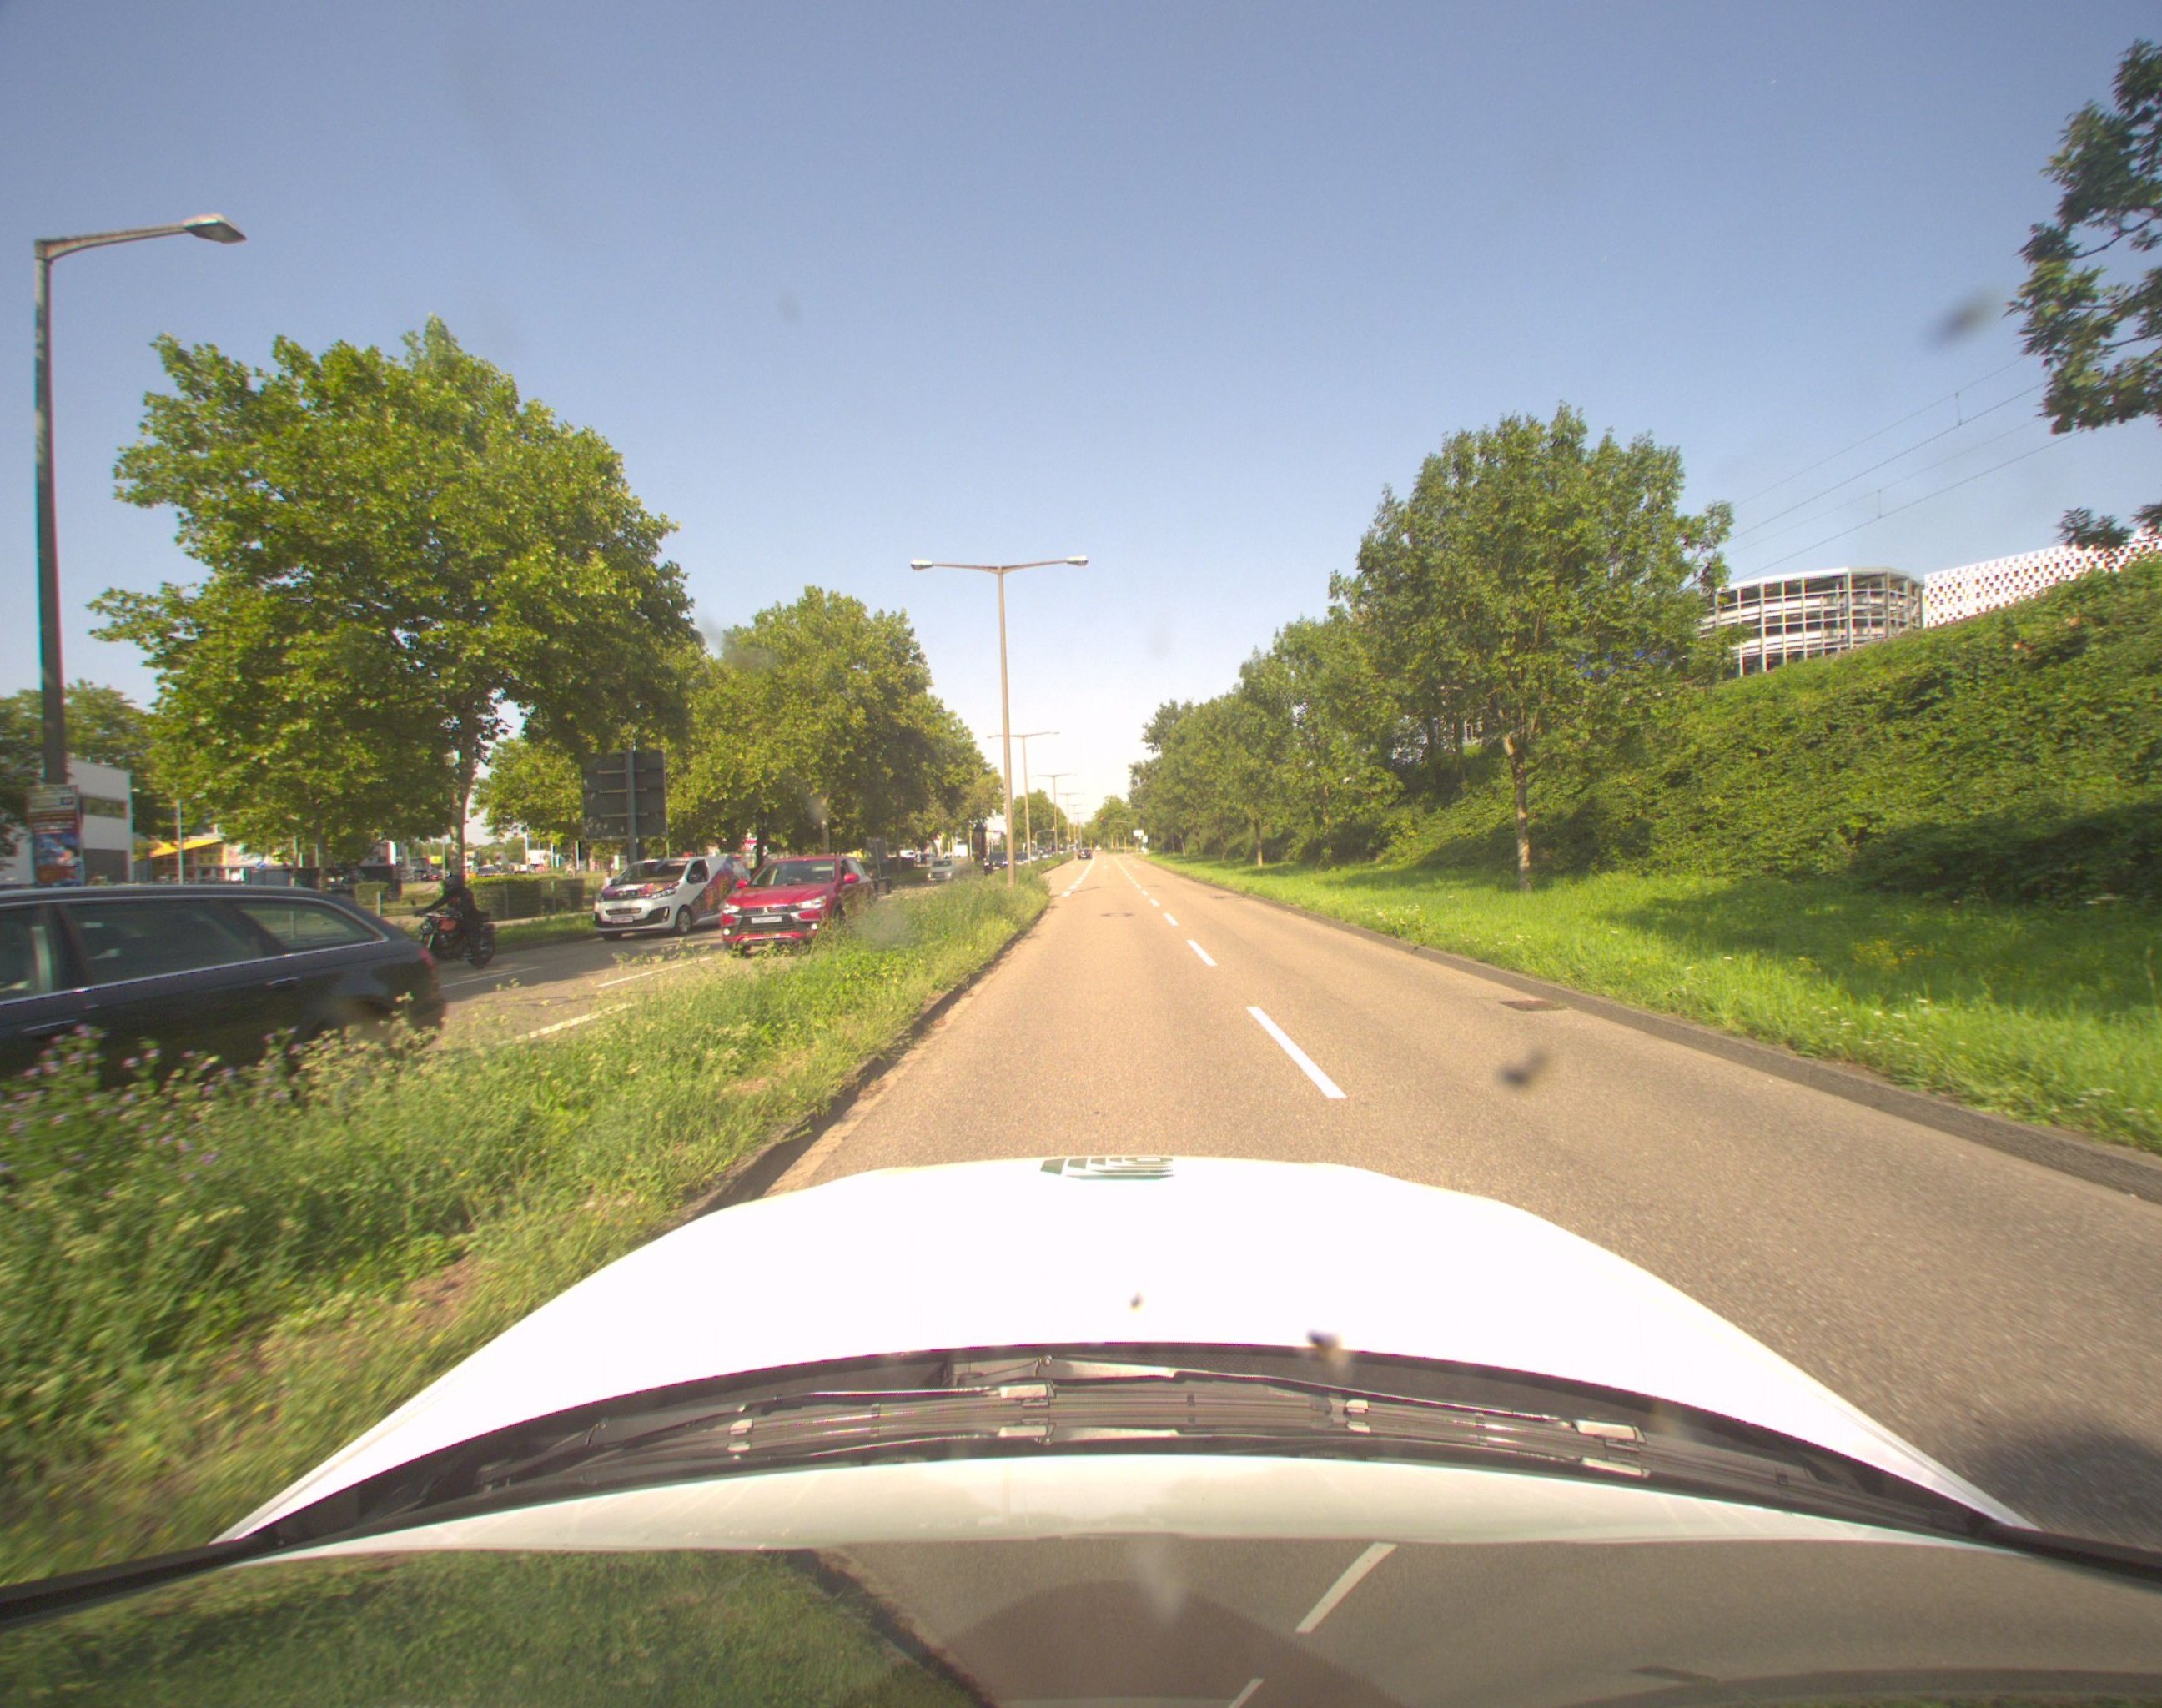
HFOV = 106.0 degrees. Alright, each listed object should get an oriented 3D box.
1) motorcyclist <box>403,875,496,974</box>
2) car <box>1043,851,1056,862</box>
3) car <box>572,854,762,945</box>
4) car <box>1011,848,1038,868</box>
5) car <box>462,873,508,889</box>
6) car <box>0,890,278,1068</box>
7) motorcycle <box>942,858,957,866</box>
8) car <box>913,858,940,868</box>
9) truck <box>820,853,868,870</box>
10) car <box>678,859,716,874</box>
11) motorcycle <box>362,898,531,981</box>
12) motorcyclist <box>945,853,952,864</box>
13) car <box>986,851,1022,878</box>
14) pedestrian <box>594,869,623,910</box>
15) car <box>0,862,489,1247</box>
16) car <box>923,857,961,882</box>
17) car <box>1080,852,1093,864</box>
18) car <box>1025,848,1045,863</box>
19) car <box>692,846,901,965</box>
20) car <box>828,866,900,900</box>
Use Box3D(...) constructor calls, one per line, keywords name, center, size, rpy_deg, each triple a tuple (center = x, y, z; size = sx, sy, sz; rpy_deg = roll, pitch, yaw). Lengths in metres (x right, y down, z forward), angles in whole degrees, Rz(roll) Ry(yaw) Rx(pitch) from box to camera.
Box3D(name="motorcyclist", center=(-10.514, 1.142, 13.582), size=(0.775, 1.554, 0.923), rpy_deg=(-1, 0, 2))
Box3D(name="car", center=(-4.629, 0.319, 118.597), size=(1.670, 1.486, 3.493), rpy_deg=(-1, 0, 1))
Box3D(name="car", center=(-10.105, 1.014, 20.449), size=(1.977, 1.858, 4.971), rpy_deg=(-4, 0, 2))
Box3D(name="car", center=(-5.363, 0.351, 77.368), size=(1.986, 1.759, 4.309), rpy_deg=(-4, 0, 2))
Box3D(name="car", center=(-66.478, 3.015, 90.861), size=(4.016, 1.545, 1.820), rpy_deg=(-3, 0, -34))
Box3D(name="car", center=(-10.569, 1.230, 7.813), size=(1.739, 1.479, 3.833), rpy_deg=(-3, 0, 3))
Box3D(name="motorcycle", center=(-19.403, 1.227, 120.281), size=(2.084, 1.136, 0.670), rpy_deg=(-2, 0, -34))
Box3D(name="car", center=(-23.071, 1.320, 121.706), size=(3.718, 1.443, 1.451), rpy_deg=(-2, 0, -35))
Box3D(name="truck", center=(-50.113, 1.541, 172.095), size=(9.052, 2.957, 3.477), rpy_deg=(-3, 0, -35))
Box3D(name="car", center=(-48.290, 1.589, 102.503), size=(4.019, 1.679, 1.849), rpy_deg=(-1, 0, -38))
Box3D(name="motorcycle", center=(-10.503, 1.373, 13.650), size=(0.791, 1.107, 2.469), rpy_deg=(-1, 0, 3))
Box3D(name="motorcyclist", center=(-19.575, 0.697, 120.178), size=(0.686, 1.572, 0.676), rpy_deg=(-1, 0, -34))
Box3D(name="car", center=(-5.778, 0.761, 61.577), size=(1.986, 1.759, 4.479), rpy_deg=(-4, 0, 2))
Box3D(name="pedestrian", center=(-19.778, 1.465, 34.084), size=(0.615, 1.652, 0.934), rpy_deg=(-1, 0, 1))
Box3D(name="car", center=(-5.132, 0.854, 3.488), size=(1.741, 1.479, 4.586), rpy_deg=(-4, 0, 0))
Box3D(name="car", center=(-9.325, 1.020, 55.005), size=(1.785, 1.482, 4.000), rpy_deg=(-3, 0, 0))
Box3D(name="car", center=(0.730, 0.531, 114.064), size=(1.686, 1.486, 4.001), rpy_deg=(-2, 0, 1))
Box3D(name="car", center=(-5.312, 0.143, 93.870), size=(1.873, 1.594, 4.109), rpy_deg=(-2, 0, 1))
Box3D(name="car", center=(-4.803, 0.778, 14.601), size=(1.946, 1.724, 4.589), rpy_deg=(-2, 0, 2))
Box3D(name="car", center=(-9.561, 1.238, 36.215), size=(1.783, 1.263, 4.099), rpy_deg=(-4, 0, 3))
